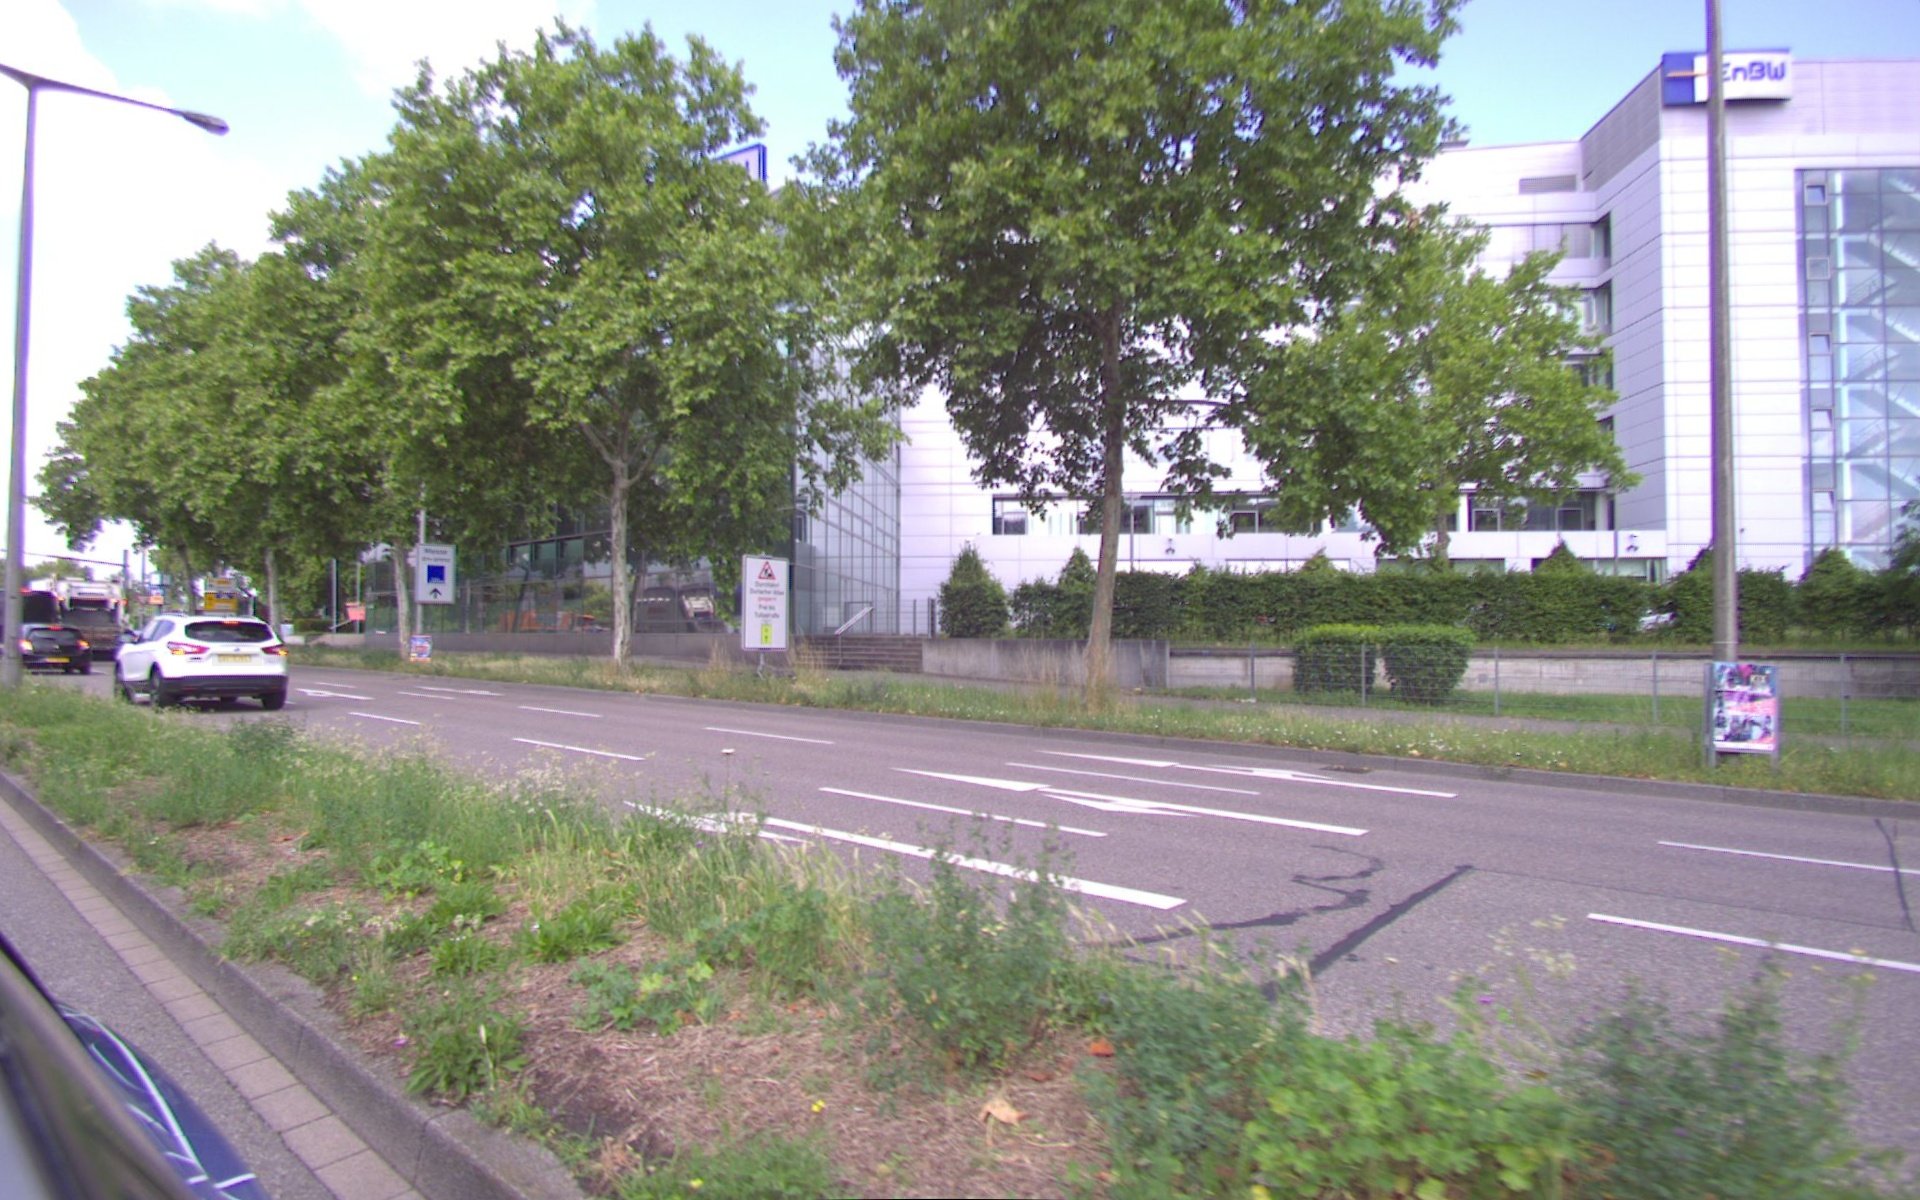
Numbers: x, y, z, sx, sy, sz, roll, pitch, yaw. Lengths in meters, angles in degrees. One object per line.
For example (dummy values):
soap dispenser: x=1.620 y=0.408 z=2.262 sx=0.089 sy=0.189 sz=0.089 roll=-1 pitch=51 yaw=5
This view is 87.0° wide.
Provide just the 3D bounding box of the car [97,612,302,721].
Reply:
car: x=-13.239 y=1.100 z=17.532 sx=4.347 sy=1.652 sz=1.796 roll=-1 pitch=-4 yaw=39

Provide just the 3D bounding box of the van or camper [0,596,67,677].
van or camper: x=-34.072 y=1.287 z=36.158 sx=6.710 sy=2.680 sz=2.083 roll=-1 pitch=-3 yaw=39

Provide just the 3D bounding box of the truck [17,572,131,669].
truck: x=-39.791 y=0.909 z=45.300 sx=10.157 sy=3.917 sz=2.621 roll=-1 pitch=-2 yaw=42

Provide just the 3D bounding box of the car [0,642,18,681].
car: x=-41.934 y=2.588 z=43.419 sx=4.231 sy=1.564 sz=1.726 roll=-1 pitch=-4 yaw=41

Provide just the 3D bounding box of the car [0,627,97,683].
car: x=-26.645 y=1.570 z=29.397 sx=3.937 sy=1.475 sz=1.677 roll=0 pitch=-2 yaw=39
